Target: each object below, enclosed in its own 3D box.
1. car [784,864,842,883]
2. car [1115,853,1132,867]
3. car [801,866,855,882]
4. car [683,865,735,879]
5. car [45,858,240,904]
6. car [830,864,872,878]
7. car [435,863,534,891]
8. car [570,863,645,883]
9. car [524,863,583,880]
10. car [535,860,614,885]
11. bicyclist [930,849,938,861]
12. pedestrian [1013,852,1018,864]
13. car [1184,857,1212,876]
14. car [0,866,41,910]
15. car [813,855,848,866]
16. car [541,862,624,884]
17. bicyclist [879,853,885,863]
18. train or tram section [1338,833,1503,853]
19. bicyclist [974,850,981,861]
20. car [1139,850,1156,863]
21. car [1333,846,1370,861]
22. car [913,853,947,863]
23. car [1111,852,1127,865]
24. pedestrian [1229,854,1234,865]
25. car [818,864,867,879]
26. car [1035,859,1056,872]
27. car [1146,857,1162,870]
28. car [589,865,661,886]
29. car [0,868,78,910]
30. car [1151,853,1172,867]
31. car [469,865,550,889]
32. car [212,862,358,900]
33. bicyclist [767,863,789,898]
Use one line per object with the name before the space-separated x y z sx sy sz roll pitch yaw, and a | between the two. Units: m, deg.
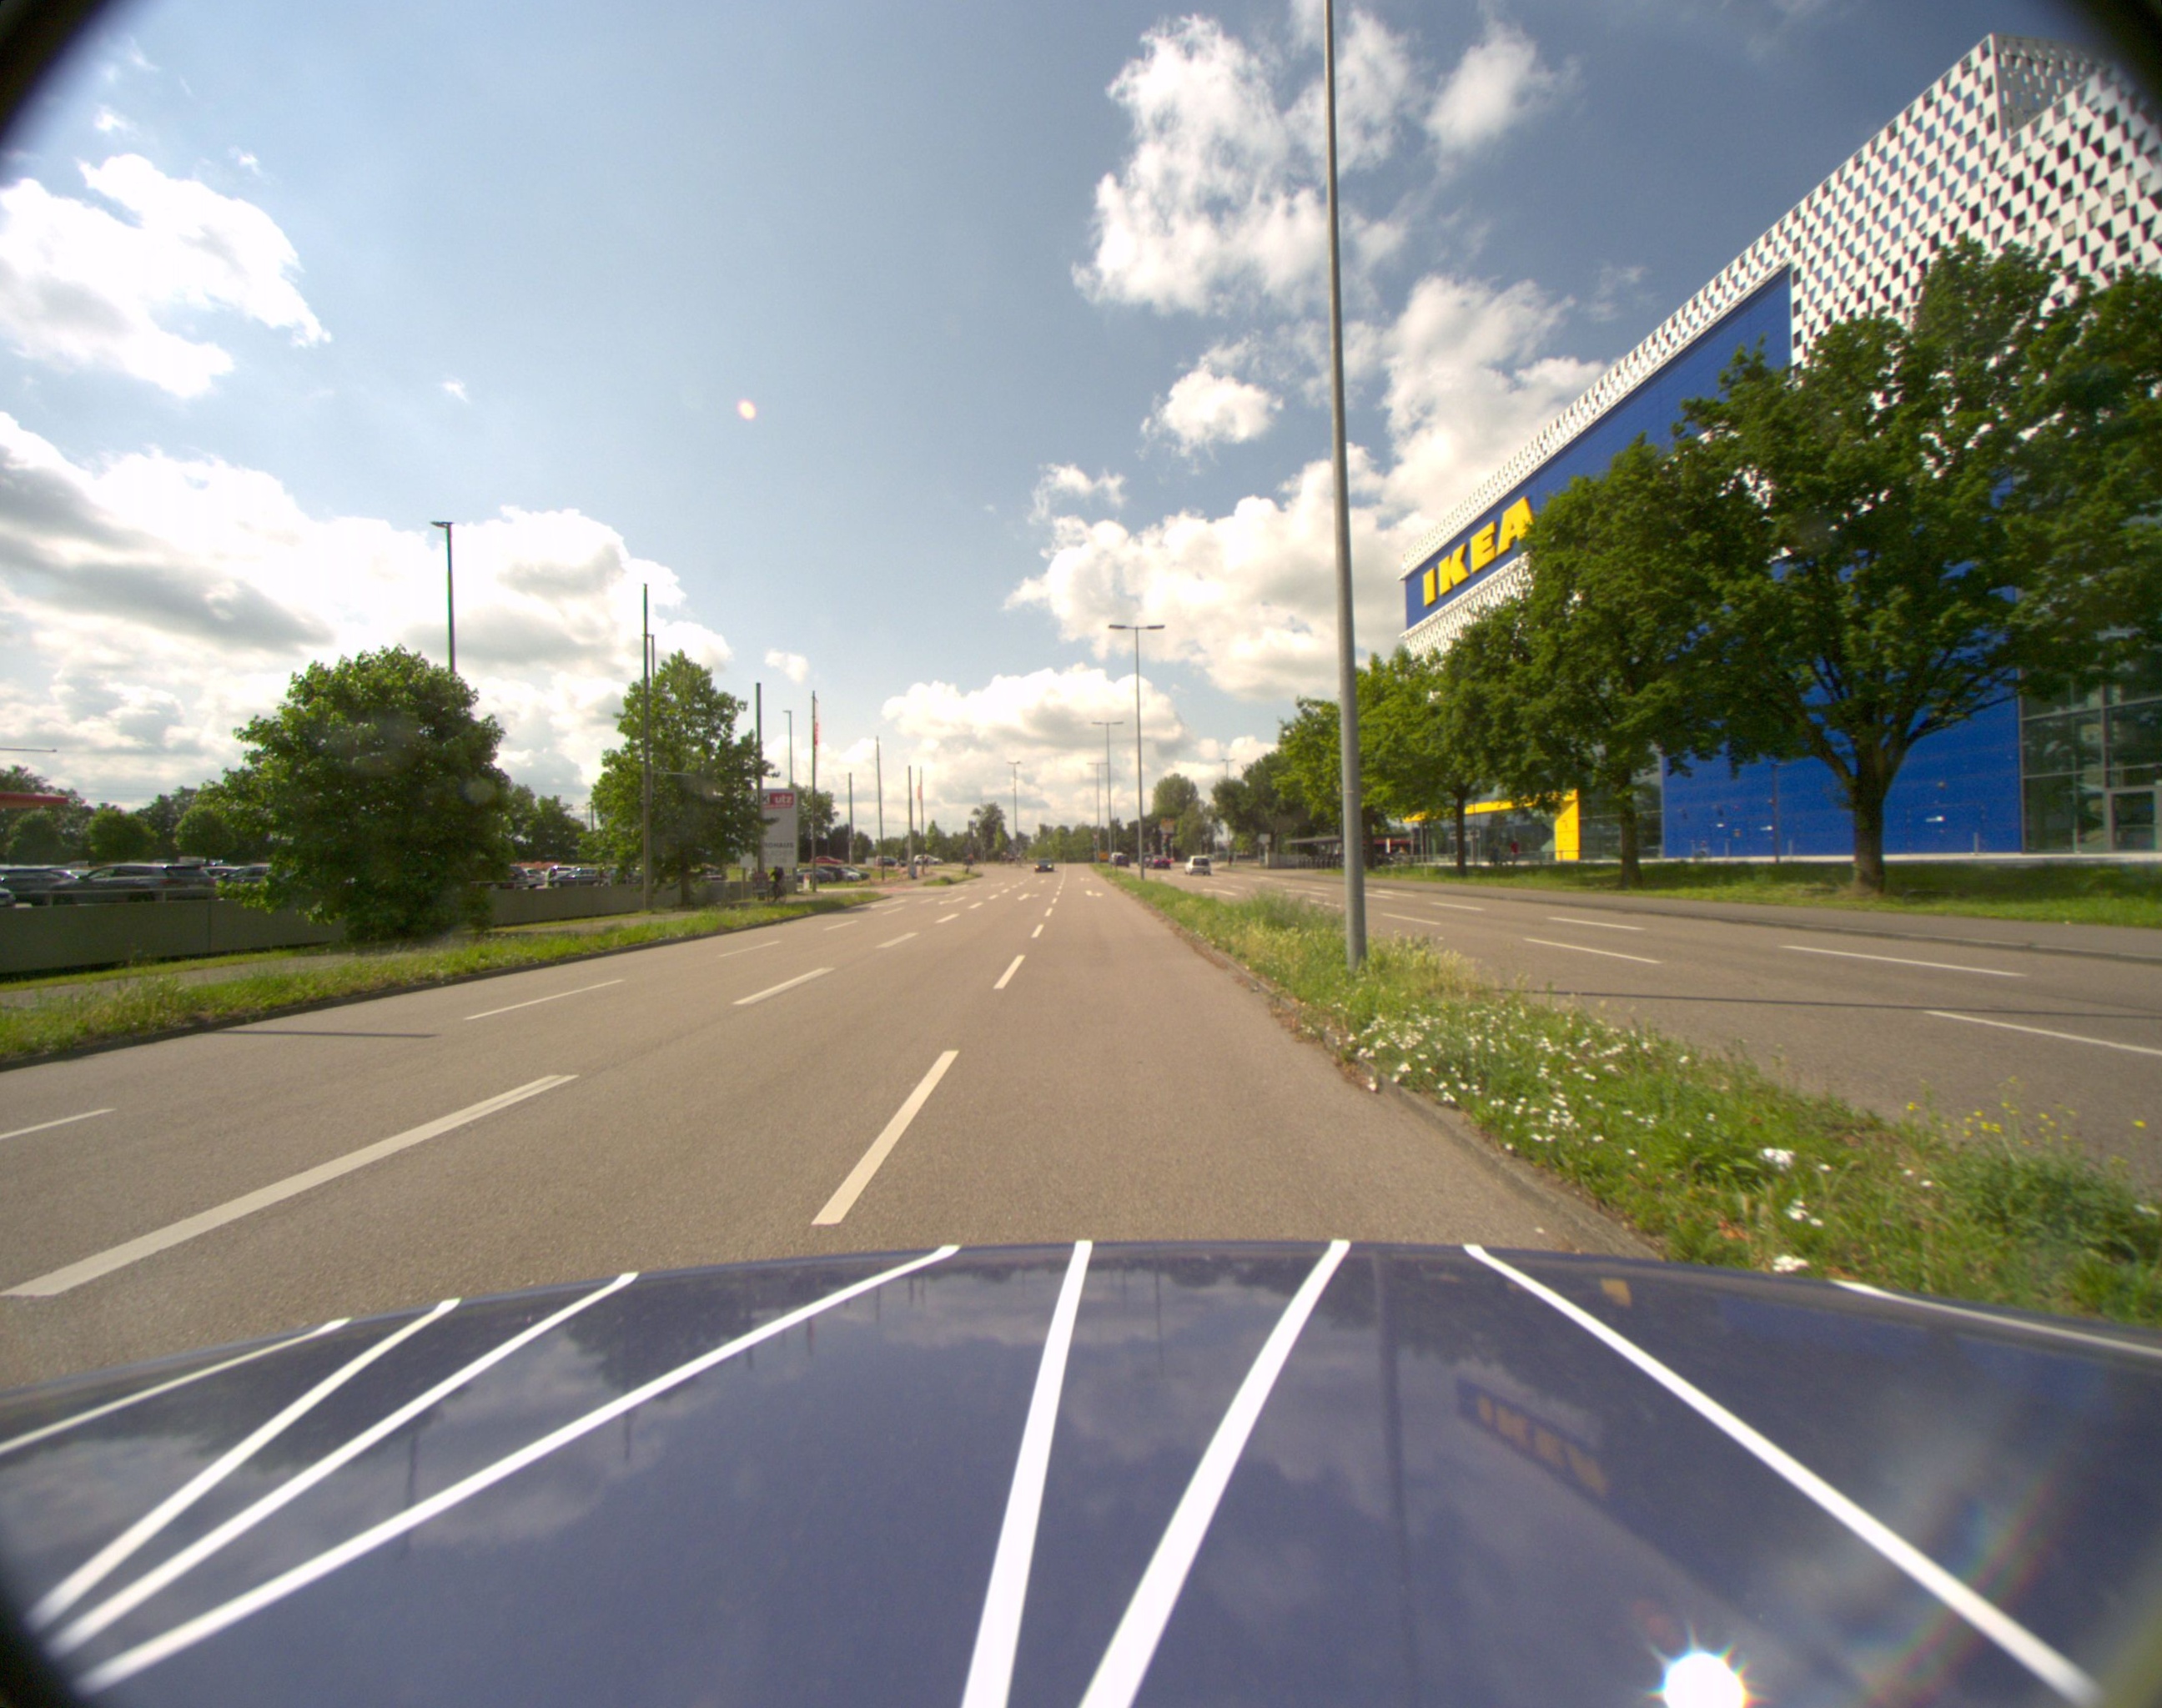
car | -23.659 1.748 67.170 4.369 1.468 1.857 -2 0 1
car | 4.937 0.652 88.259 1.608 1.484 4.131 1 0 -1
car | -23.920 1.884 71.922 4.370 1.408 1.857 -1 0 0
car | -39.009 1.855 79.735 4.369 1.400 2.050 1 -1 1
car | -33.629 0.950 27.332 4.370 1.564 2.030 0 -1 -2
car | -24.759 1.796 81.860 3.998 1.410 1.715 -1 1 -2
car | -33.345 1.270 42.525 4.065 1.522 1.741 0 0 -4
car | -33.991 1.357 54.547 4.369 1.433 1.627 0 -1 1
car | -49.769 1.633 71.723 4.236 1.578 1.853 0 -1 -2
car | -33.155 1.212 49.802 4.025 1.578 1.695 -1 -1 -2
bicyclist | -19.124 0.122 98.538 0.744 1.466 0.649 -1 -1 -42
pedestrian | -8.756 0.515 101.656 0.584 1.515 0.469 -2 1 8
car | 9.117 0.932 59.425 1.647 1.420 3.670 0 0 1
car | -34.324 1.015 22.552 4.370 1.317 1.764 0 -1 -2
car | -33.529 0.864 101.783 4.248 1.352 1.748 0 1 -5
car | -33.914 1.277 51.784 4.371 1.354 1.846 1 0 -2
bicyclist | -25.208 0.526 96.113 0.687 1.317 0.592 -2 0 -11
train or tram section | 55.229 -1.716 124.132 25.115 3.014 4.530 0 0 -2
bicyclist | -13.881 0.216 101.814 0.698 1.526 0.619 -2 0 -23
car | 8.476 0.303 97.358 1.775 1.606 3.998 1 1 -1
car | 40.653 -0.054 114.317 4.821 2.001 2.000 -2 -1 -4
car | -21.752 0.569 109.353 4.495 1.404 2.013 0 0 -3
car | 4.844 0.570 98.266 1.712 1.610 4.376 1 1 -1
pedestrian | 19.644 0.725 99.332 0.439 1.481 0.619 -1 0 -17
car | -24.203 1.781 77.201 4.370 1.431 1.796 -1 0 0
car | -3.797 1.210 81.447 1.797 1.311 4.163 -2 0 3
car | 8.098 1.012 84.523 1.415 1.383 4.095 1 0 0
car | -34.038 1.569 56.776 4.369 1.499 1.682 0 0 1
car | -39.222 1.279 27.157 4.251 1.455 1.760 -2 -1 -2
car | 8.411 0.582 79.554 1.668 1.413 4.518 1 0 -1
car | -39.006 1.580 51.933 4.159 1.499 1.826 -2 -1 0
car | -33.493 1.133 32.062 4.193 1.543 1.764 0 -1 -2
bicyclist | -12.429 1.078 31.179 0.617 1.404 0.715 -1 0 0
